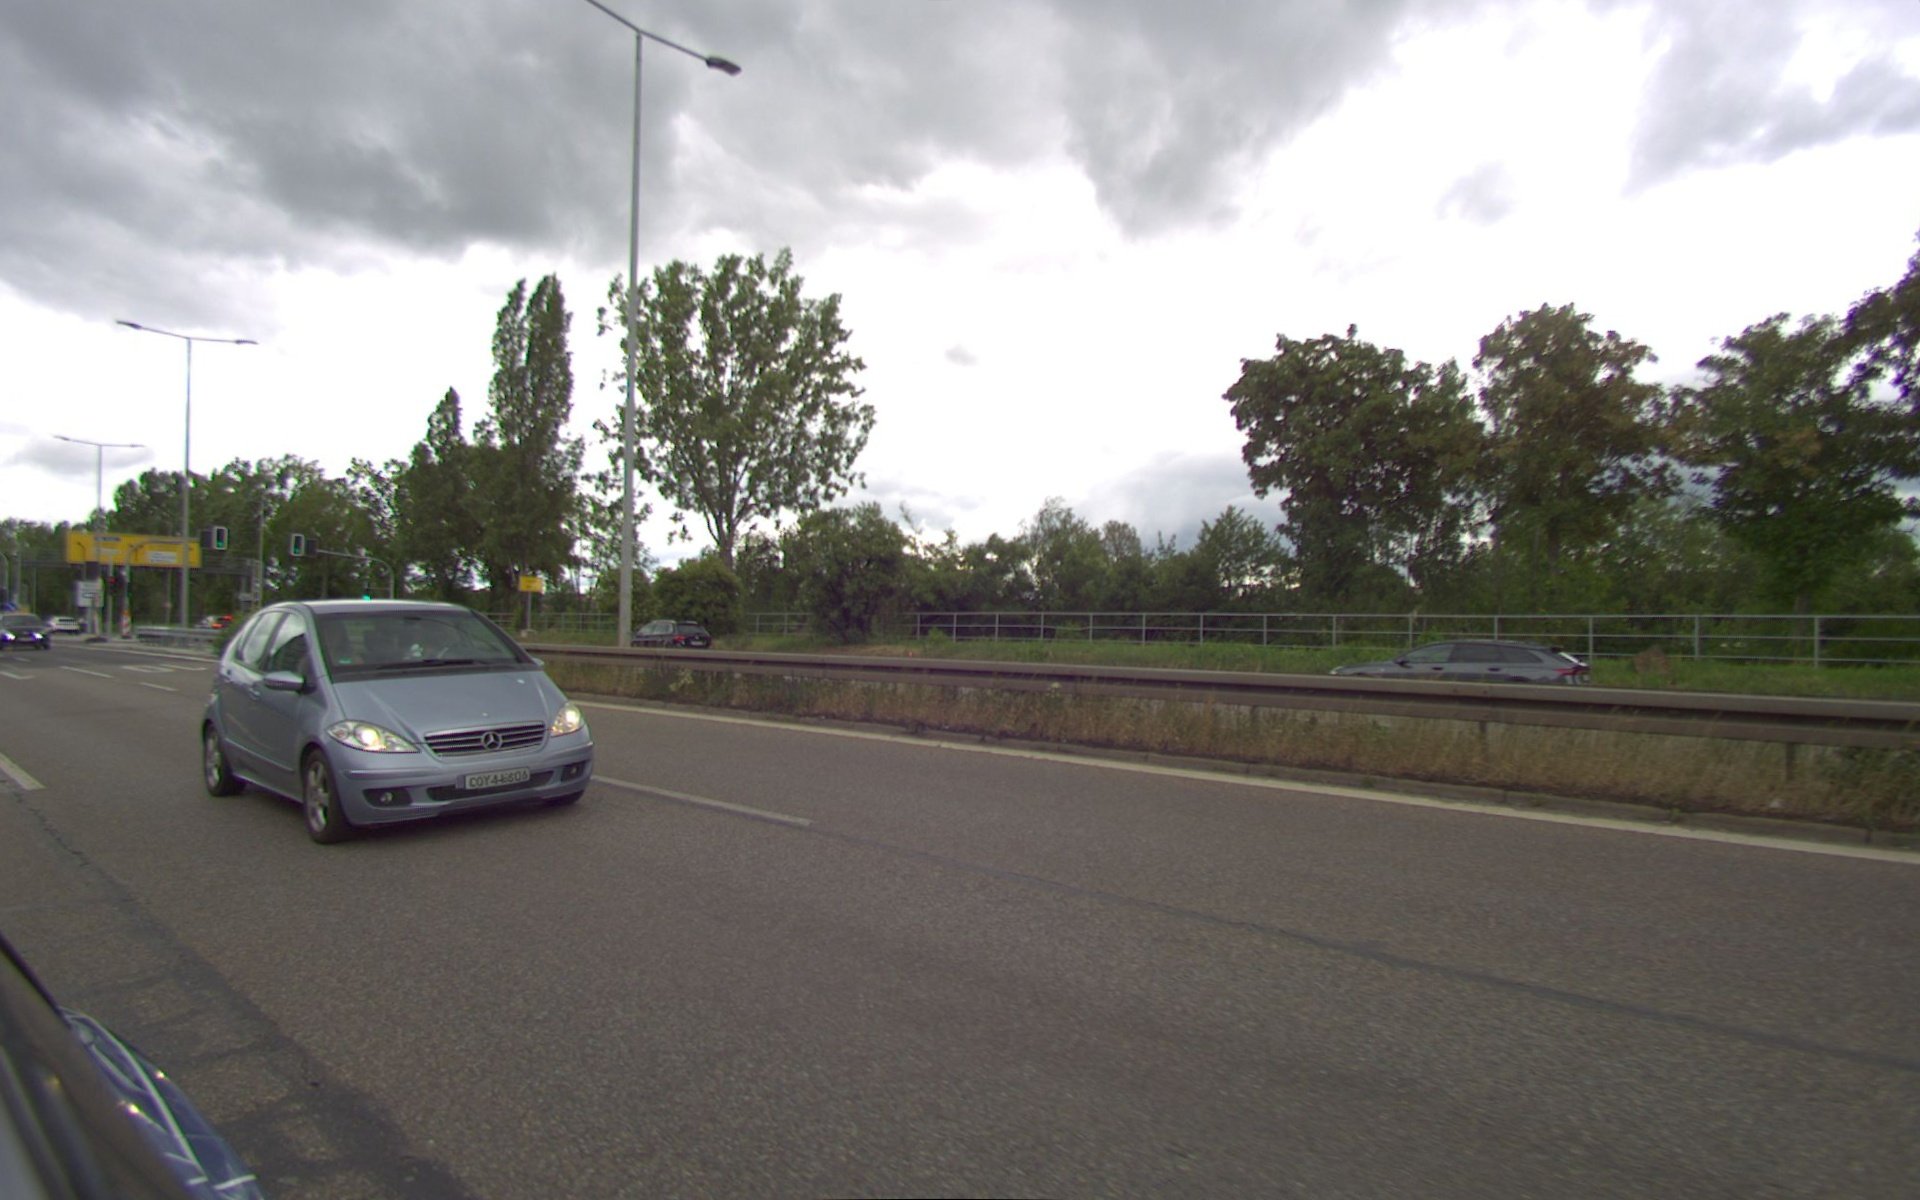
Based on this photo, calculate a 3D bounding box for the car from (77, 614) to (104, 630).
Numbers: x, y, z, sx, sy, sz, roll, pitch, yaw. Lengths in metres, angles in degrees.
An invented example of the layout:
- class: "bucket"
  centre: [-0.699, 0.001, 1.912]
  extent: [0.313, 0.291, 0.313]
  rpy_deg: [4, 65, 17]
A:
- class: "car"
  centre: [-83.758, 2.131, 97.482]
  extent: [2.631, 1.487, 1.489]
  rpy_deg: [-2, -4, 41]

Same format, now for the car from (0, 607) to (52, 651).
- class: "car"
  centre: [-39.575, 1.217, 42.307]
  extent: [4.143, 1.738, 1.859]
  rpy_deg: [-1, -2, 40]

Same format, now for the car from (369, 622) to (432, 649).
- class: "car"
  centre: [-30.434, 1.899, 55.012]
  extent: [4.064, 1.429, 1.758]
  rpy_deg: [-1, -2, 41]

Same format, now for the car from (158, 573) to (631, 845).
- class: "car"
  centre: [-4.518, 0.674, 7.839]
  extent: [4.143, 1.551, 1.859]
  rpy_deg: [-1, -2, 40]

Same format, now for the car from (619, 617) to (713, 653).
- class: "car"
  centre: [-11.349, 1.343, 38.968]
  extent: [4.059, 1.309, 1.562]
  rpy_deg: [-1, -2, 41]

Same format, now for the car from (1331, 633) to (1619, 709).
- class: "car"
  centre: [9.968, 1.311, 19.848]
  extent: [4.784, 1.309, 1.643]
  rpy_deg: [-1, -2, 40]

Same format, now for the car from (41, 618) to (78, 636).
- class: "car"
  centre: [-79.242, 2.387, 89.076]
  extent: [4.998, 1.537, 1.680]
  rpy_deg: [-1, -4, 40]

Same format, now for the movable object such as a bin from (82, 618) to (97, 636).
- class: "movable object such as a bin"
  centre: [-49.564, 1.525, 57.606]
  extent: [0.622, 1.032, 0.563]
  rpy_deg: [-2, -2, 44]
